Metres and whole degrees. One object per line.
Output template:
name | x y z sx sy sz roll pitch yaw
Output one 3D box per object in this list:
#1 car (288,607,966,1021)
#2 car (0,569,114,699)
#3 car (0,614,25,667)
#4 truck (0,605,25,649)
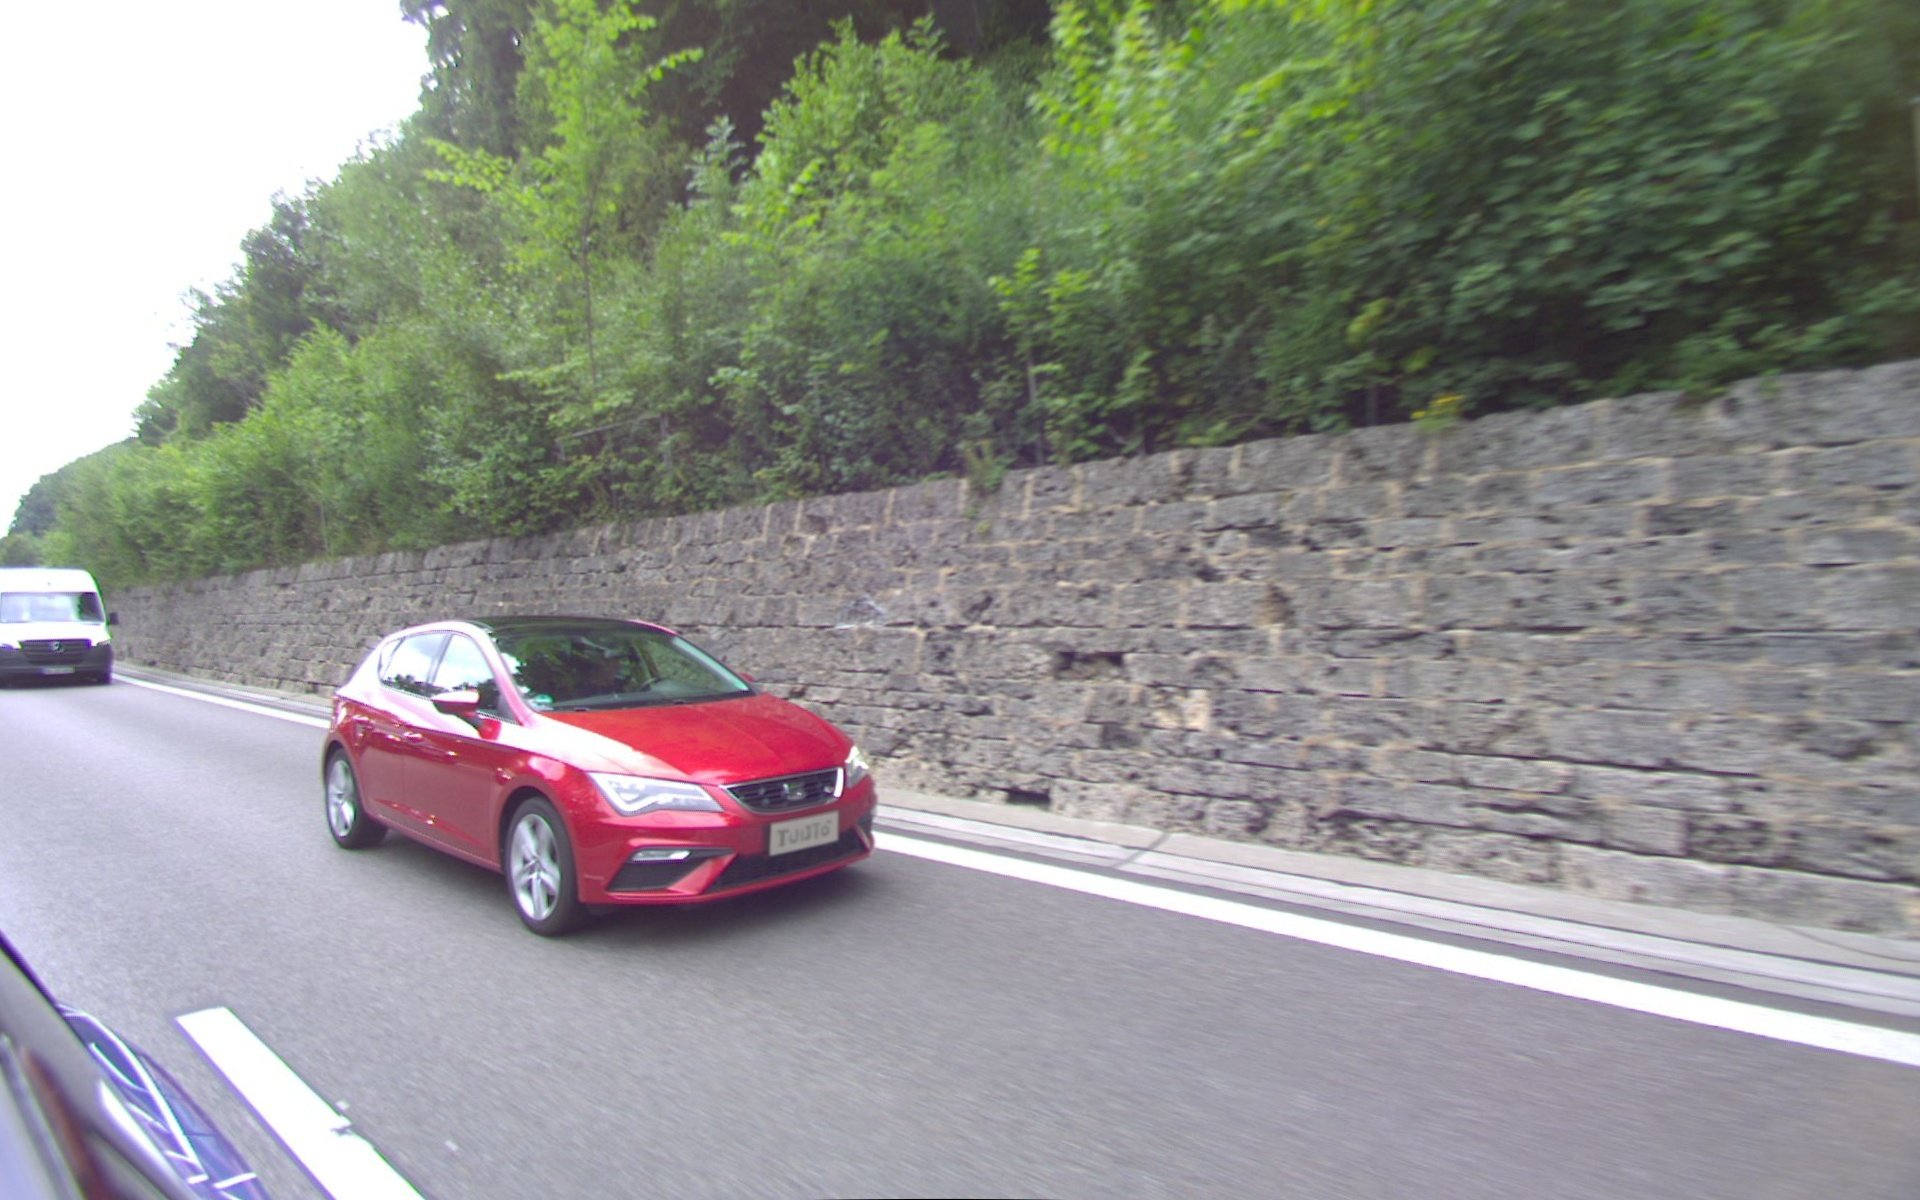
car | -2.189 0.805 5.803 4.410 1.471 1.747 -1 0 42
car | -20.976 0.714 23.021 6.276 2.605 2.003 -1 0 44
car | -38.786 1.621 40.362 1.969 1.967 6.156 -3 1 -41
truck | -53.015 1.477 55.618 1.969 2.297 6.596 -2 1 -40
